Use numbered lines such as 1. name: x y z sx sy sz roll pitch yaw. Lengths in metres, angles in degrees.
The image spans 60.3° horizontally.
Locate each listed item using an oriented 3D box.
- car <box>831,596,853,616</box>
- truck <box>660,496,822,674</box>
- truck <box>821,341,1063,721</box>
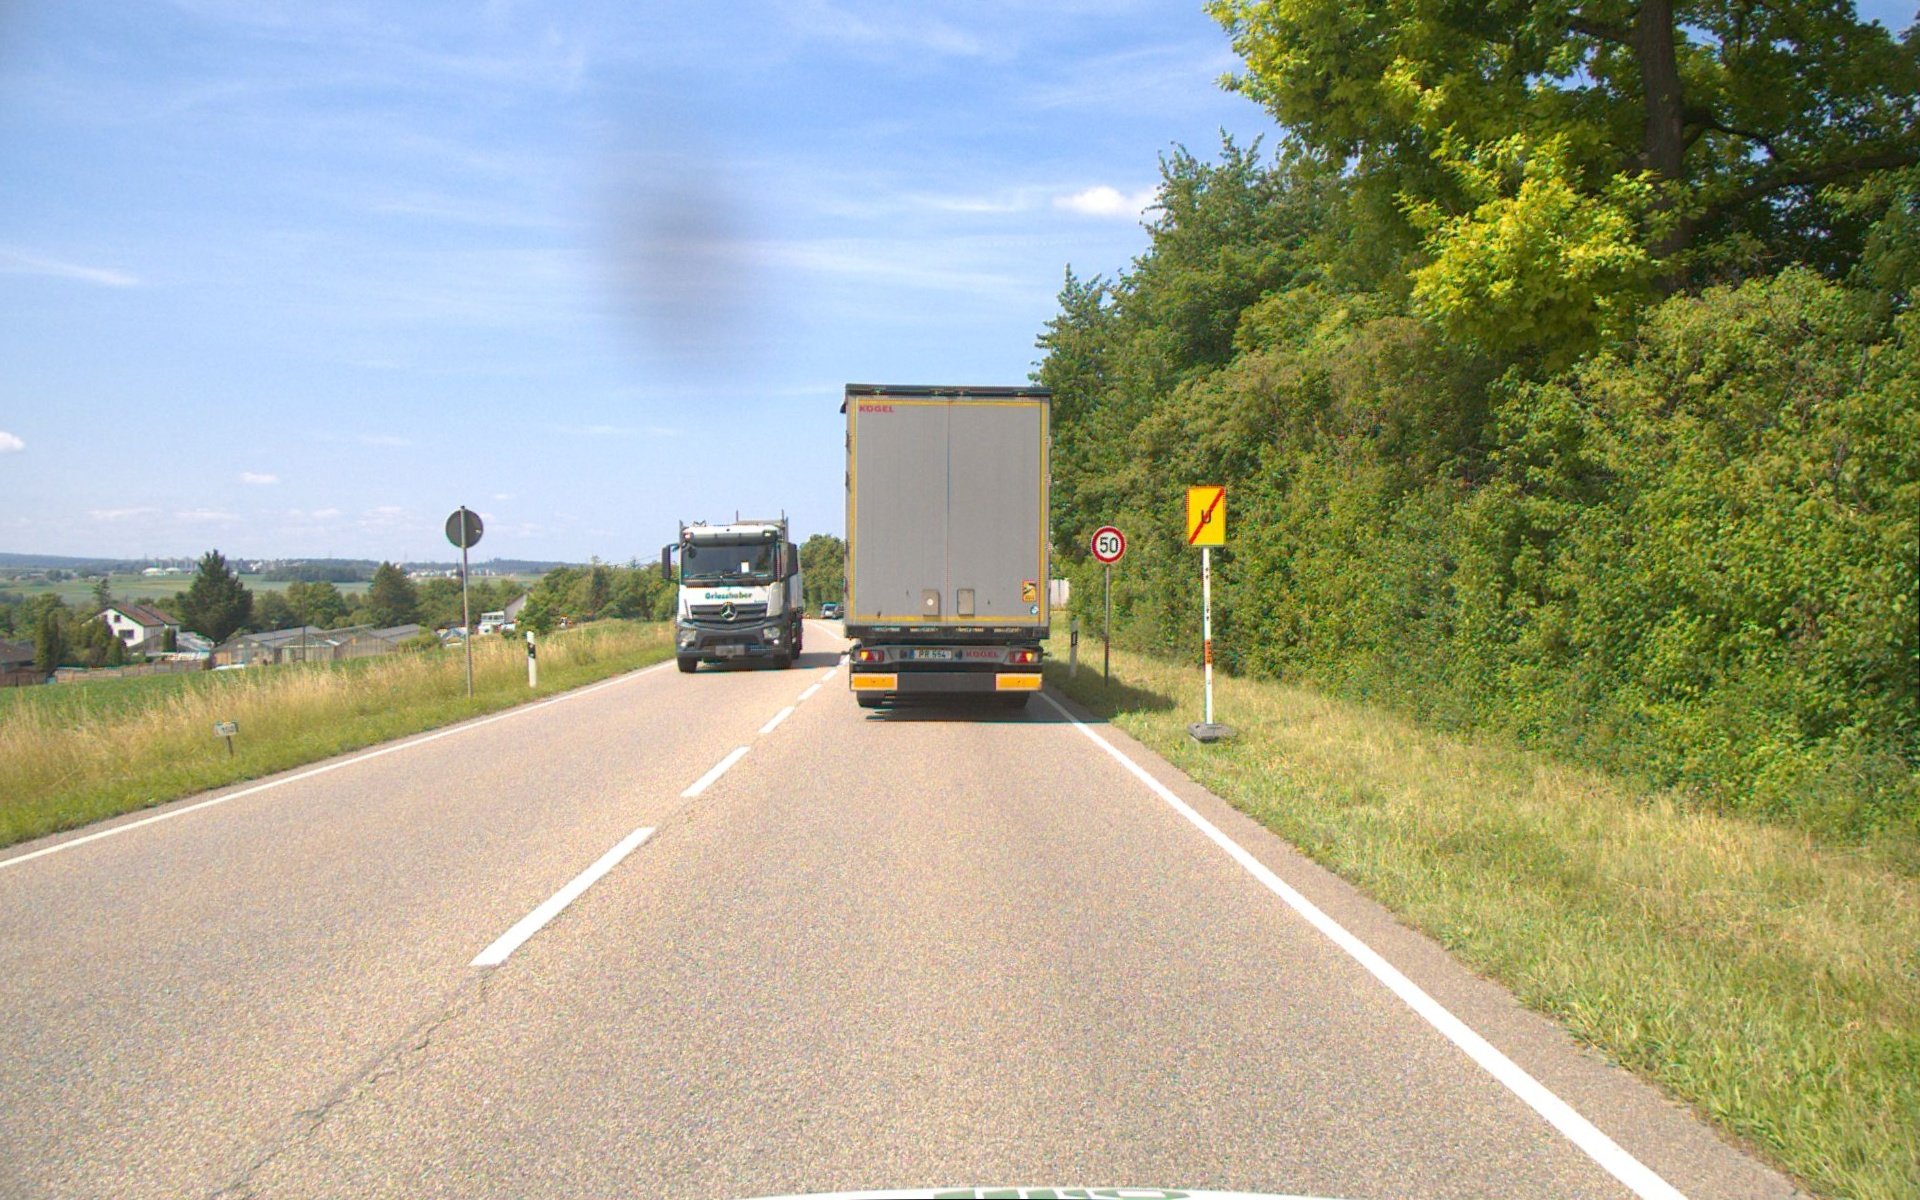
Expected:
1. car: -12.543 0.658 175.780 2.129 2.049 4.521 -3 0 -6
2. truck: -5.108 -0.320 40.653 2.701 3.638 11.060 -3 0 -2
3. truck: -0.414 -0.823 24.032 2.849 4.487 8.855 0 0 -3
